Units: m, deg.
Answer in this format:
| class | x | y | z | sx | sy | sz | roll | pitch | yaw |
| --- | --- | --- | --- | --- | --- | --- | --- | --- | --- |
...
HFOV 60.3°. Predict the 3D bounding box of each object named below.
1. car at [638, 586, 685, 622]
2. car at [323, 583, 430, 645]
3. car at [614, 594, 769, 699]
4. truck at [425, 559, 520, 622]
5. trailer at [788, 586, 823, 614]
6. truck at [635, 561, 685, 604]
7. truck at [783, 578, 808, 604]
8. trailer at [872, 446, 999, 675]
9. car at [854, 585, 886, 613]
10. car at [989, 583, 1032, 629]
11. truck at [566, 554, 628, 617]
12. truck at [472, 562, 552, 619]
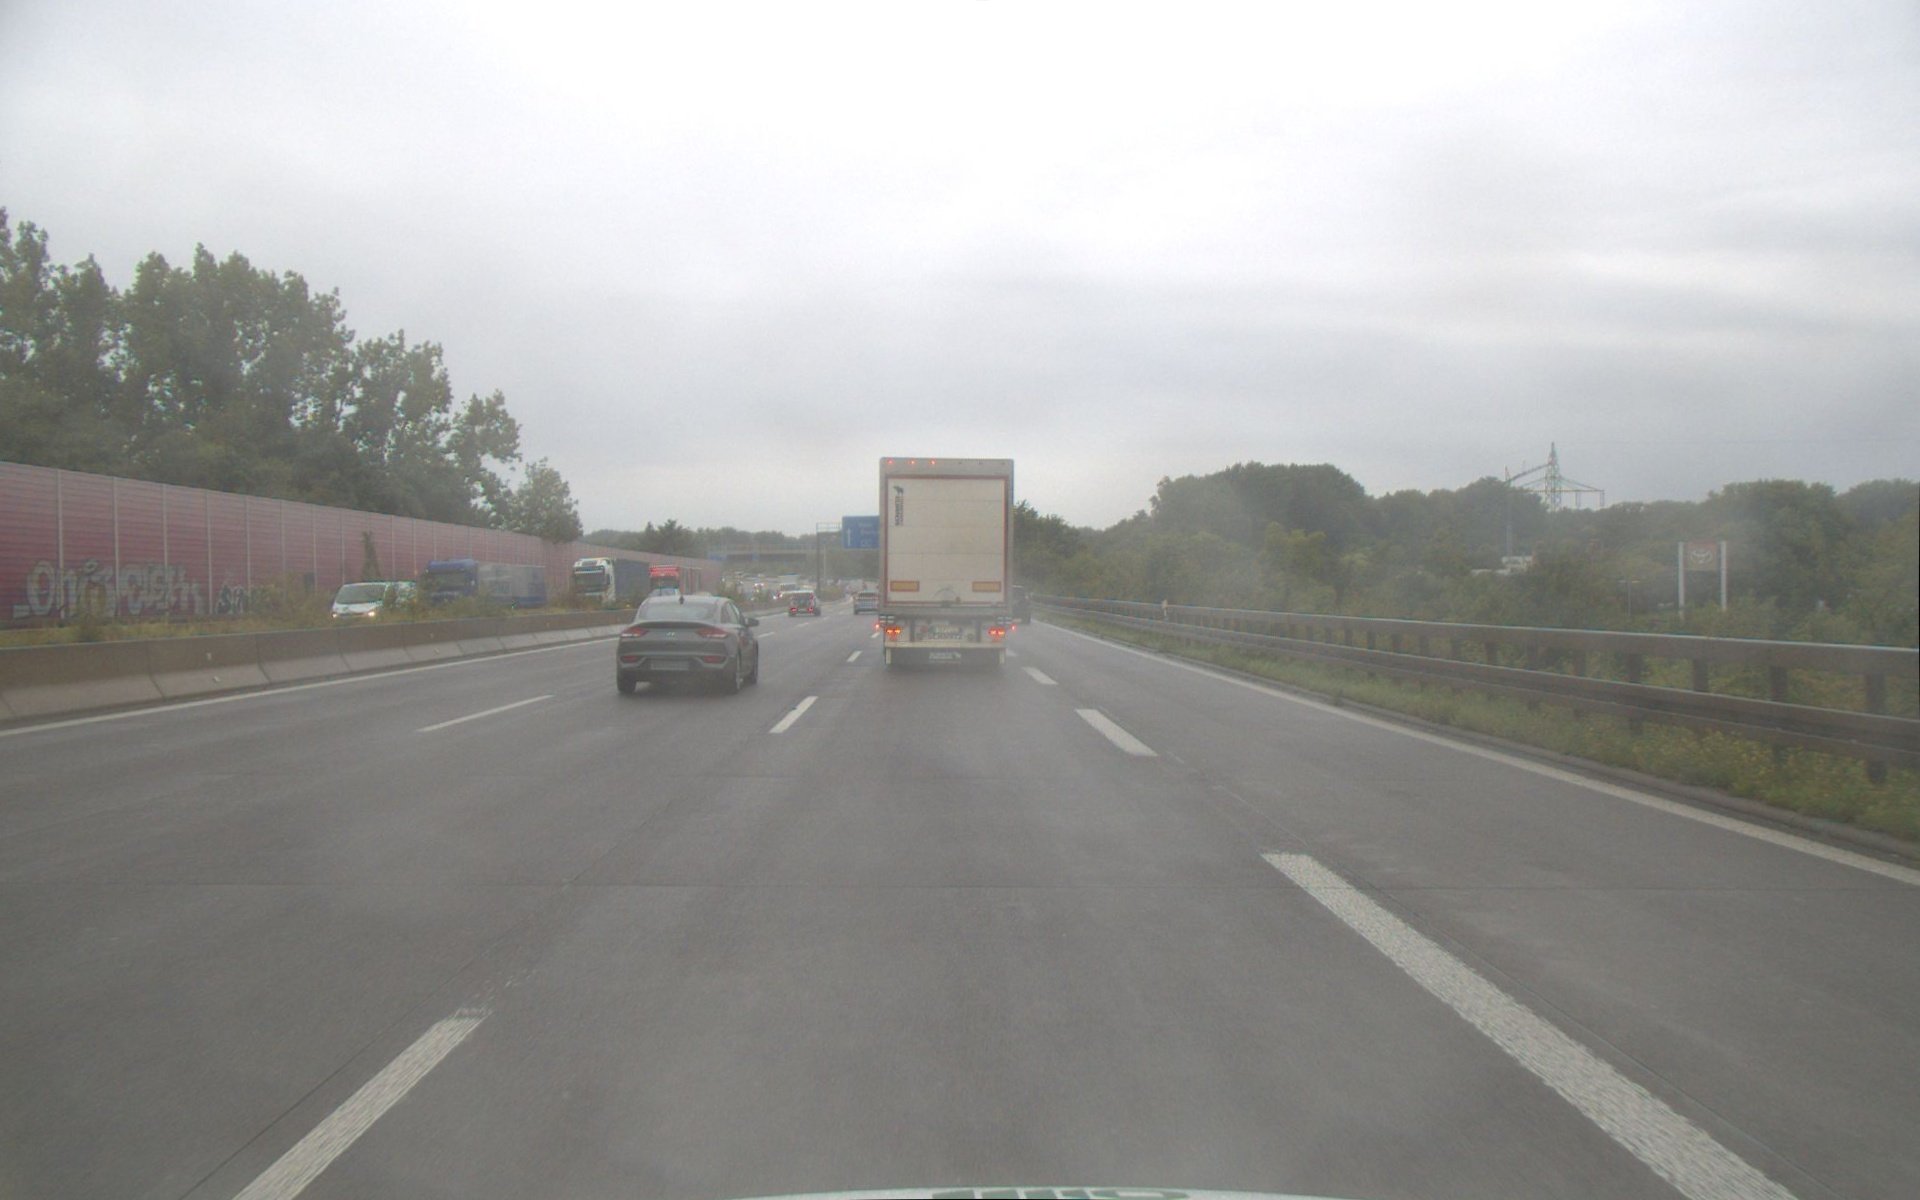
| class | x | y | z | sx | sy | sz | roll | pitch | yaw |
| --- | --- | --- | --- | --- | --- | --- | --- | --- | --- |
| car | -17.105 | 0.209 | 94.869 | 1.953 | 2.049 | 4.790 | 0 | 0 | -2 |
| car | -20.259 | 0.441 | 57.665 | 1.953 | 2.049 | 5.133 | 0 | 0 | -1 |
| car | -4.043 | 0.650 | 25.582 | 1.690 | 1.427 | 4.828 | 0 | 1 | -1 |
| truck | -28.064 | -0.557 | 95.755 | 2.658 | 3.409 | 10.429 | 1 | 0 | -2 |
| trailer | -9.481 | -0.003 | 101.682 | 1.778 | 1.653 | 4.567 | 0 | 1 | -1 |
| truck | -26.055 | -1.511 | 144.261 | 2.724 | 3.551 | 10.615 | 0 | 0 | -2 |
| truck | -18.617 | -1.045 | 187.466 | 2.220 | 2.878 | 7.277 | 1 | 0 | -2 |
| trailer | -0.587 | -0.899 | 38.229 | 2.295 | 4.229 | 14.825 | 1 | 1 | -1 |
| car | -5.688 | -0.081 | 105.397 | 1.855 | 1.753 | 3.999 | 1 | 0 | -1 |
| car | 2.292 | 0.255 | 75.614 | 1.858 | 1.983 | 4.000 | 1 | 0 | 0 |
| truck | -24.509 | -0.972 | 111.875 | 2.984 | 4.098 | 6.049 | 1 | 0 | -2 |
| truck | -28.427 | -0.624 | 105.358 | 2.912 | 3.409 | 8.697 | 1 | 0 | -2 |
